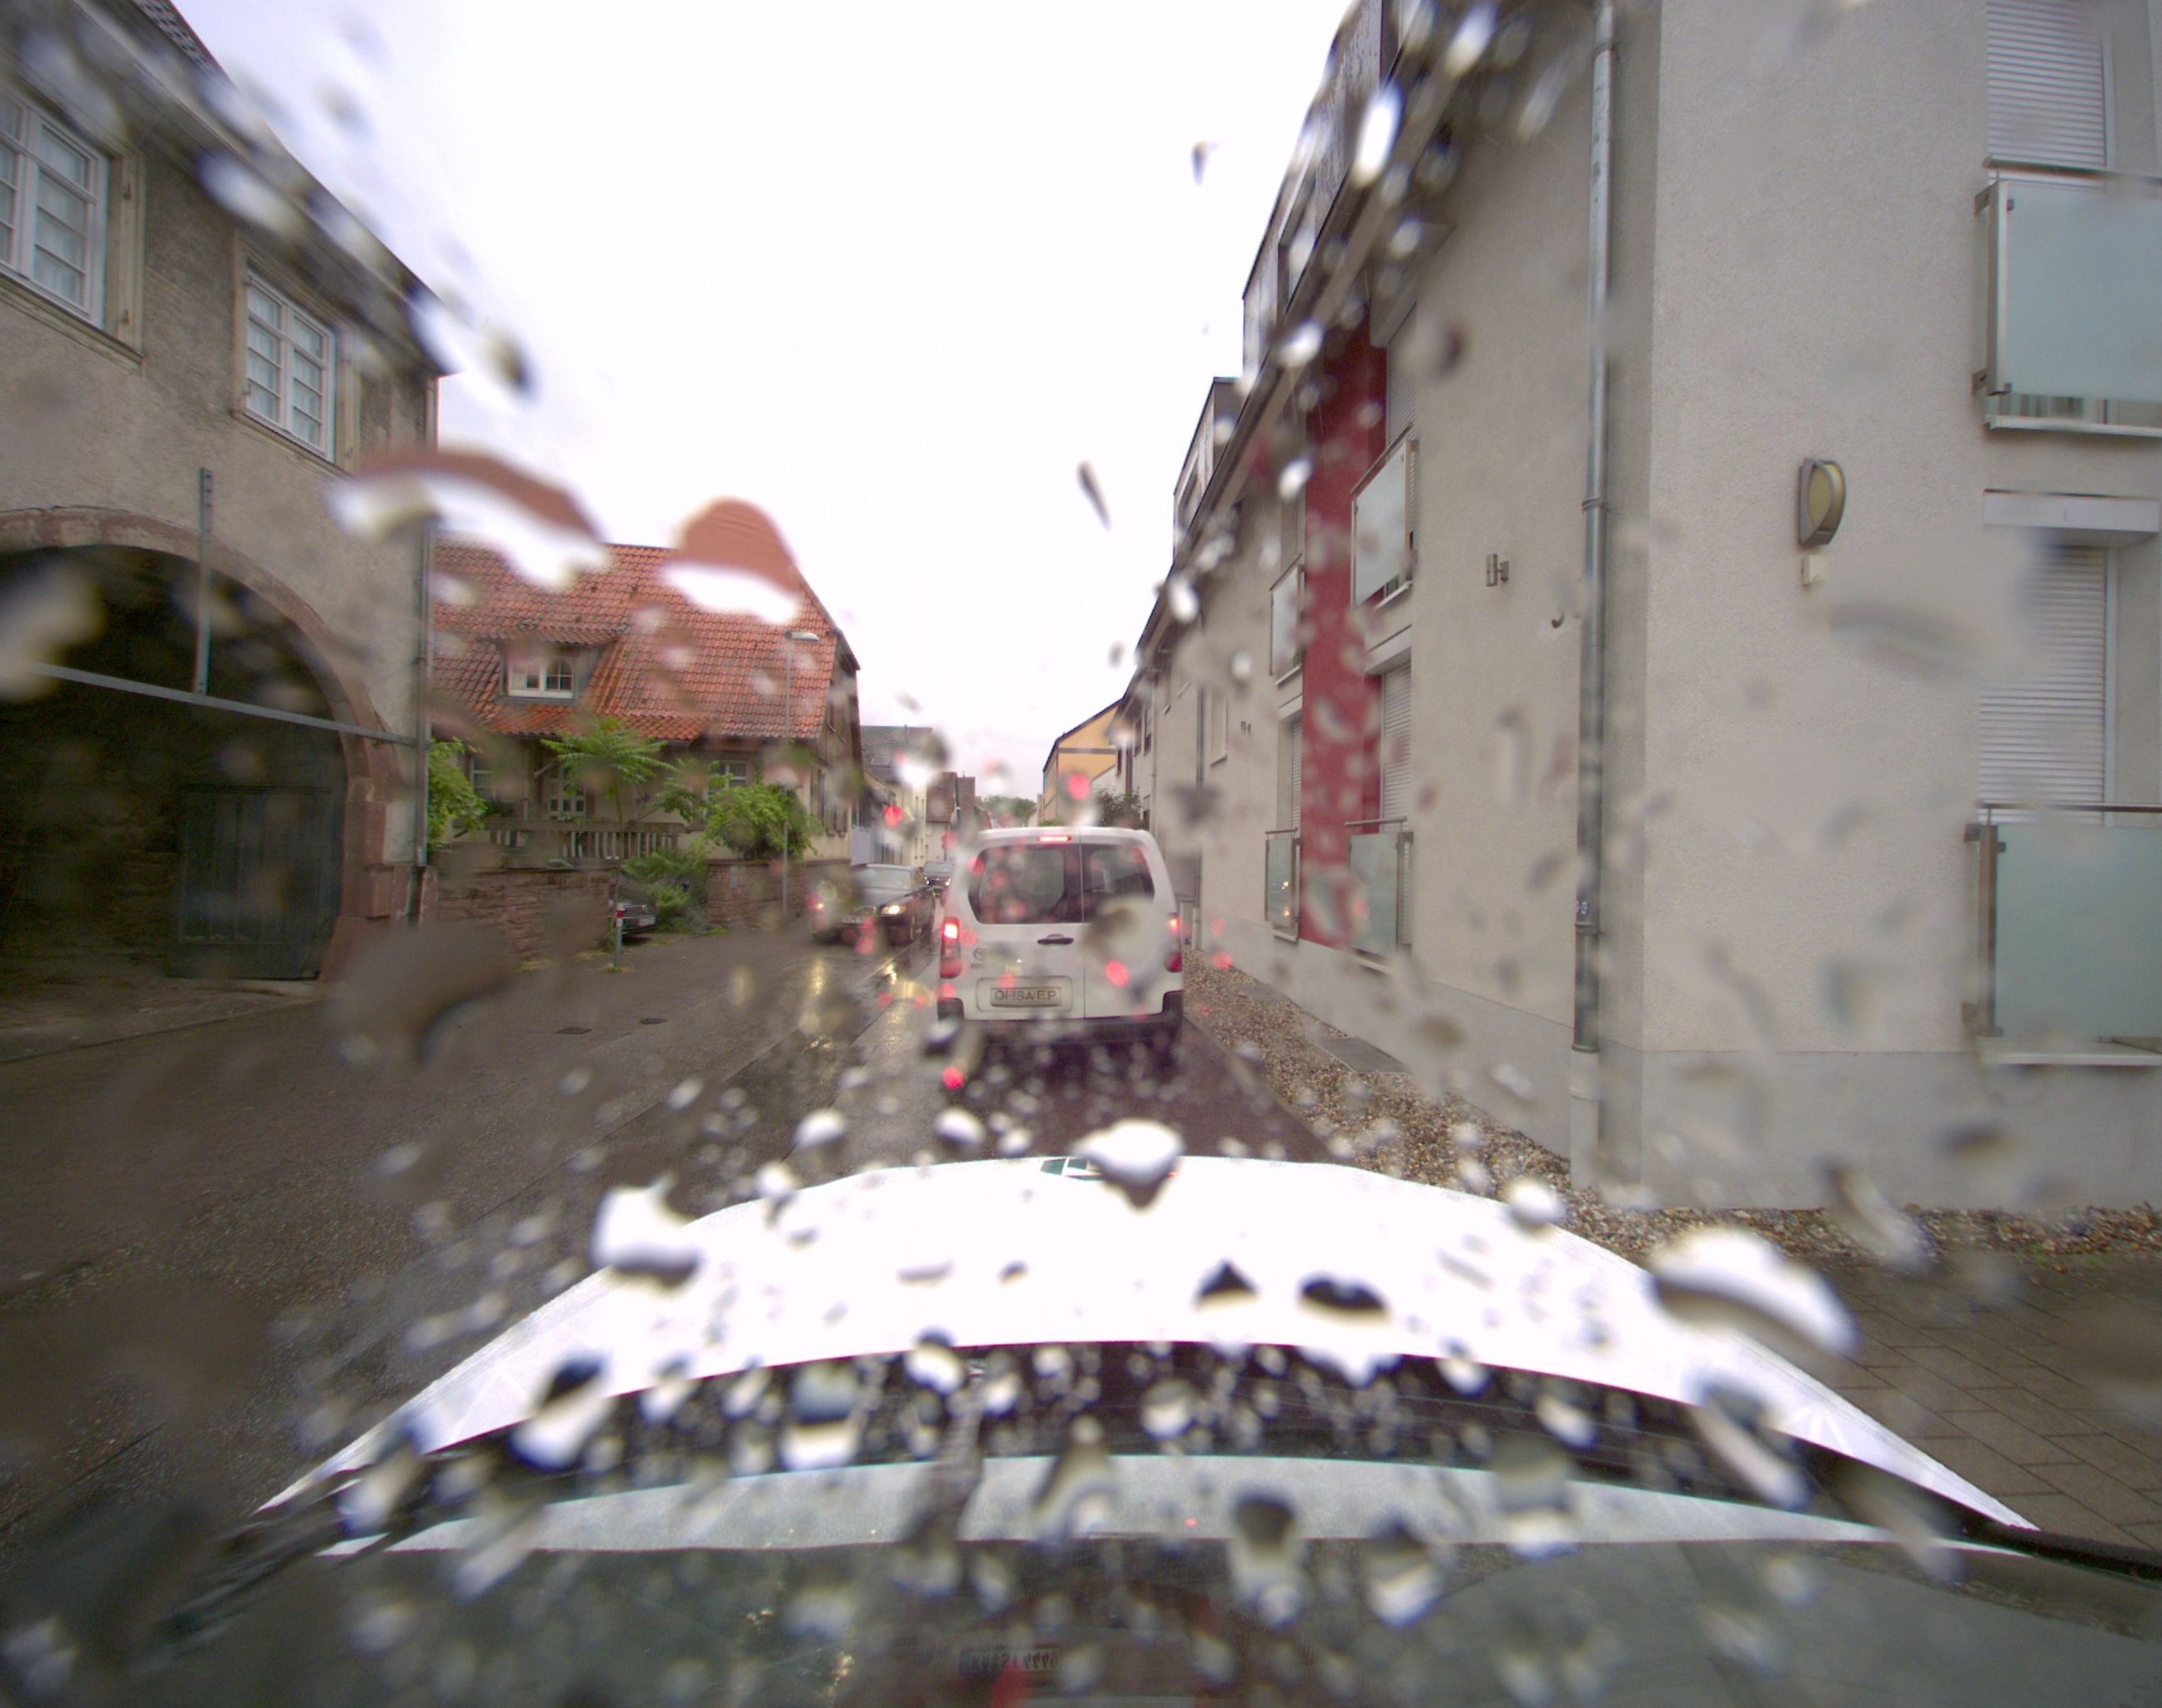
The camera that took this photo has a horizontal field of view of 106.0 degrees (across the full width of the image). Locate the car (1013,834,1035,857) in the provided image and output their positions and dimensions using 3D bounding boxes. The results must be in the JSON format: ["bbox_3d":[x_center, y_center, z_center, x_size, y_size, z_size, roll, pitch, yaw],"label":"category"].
[{"bbox_3d":[-5.302,-0.762,76.704,1.989,2.014,3.995,0,-1,-3],"label":"car"}]

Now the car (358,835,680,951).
[{"bbox_3d":[-9.119,0.618,13.451,3.973,1.425,1.736,5,-1,1],"label":"car"}]

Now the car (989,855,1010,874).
[{"bbox_3d":[-6.568,0.874,65.719,1.559,1.477,3.989,0,-1,-7],"label":"car"}]

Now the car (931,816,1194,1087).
[{"bbox_3d":[-0.332,0.654,7.471,1.773,1.780,3.991,0,-1,-7],"label":"car"}]

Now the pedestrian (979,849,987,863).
[{"bbox_3d":[-13.330,0.297,110.297,1.049,1.893,0.875,0,-1,-7],"label":"pedestrian"}]

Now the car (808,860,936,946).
[{"bbox_3d":[-4.042,0.883,16.433,1.692,1.509,4.335,0,-1,-4],"label":"car"}]

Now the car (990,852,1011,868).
[{"bbox_3d":[-7.334,0.543,73.707,1.778,1.395,3.989,0,-1,-7],"label":"car"}]

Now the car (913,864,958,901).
[{"bbox_3d":[-6.347,1.216,35.806,1.602,1.513,3.681,1,0,-5],"label":"car"}]

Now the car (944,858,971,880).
[{"bbox_3d":[-9.104,1.087,60.278,1.831,1.556,4.228,1,-1,-7],"label":"car"}]
